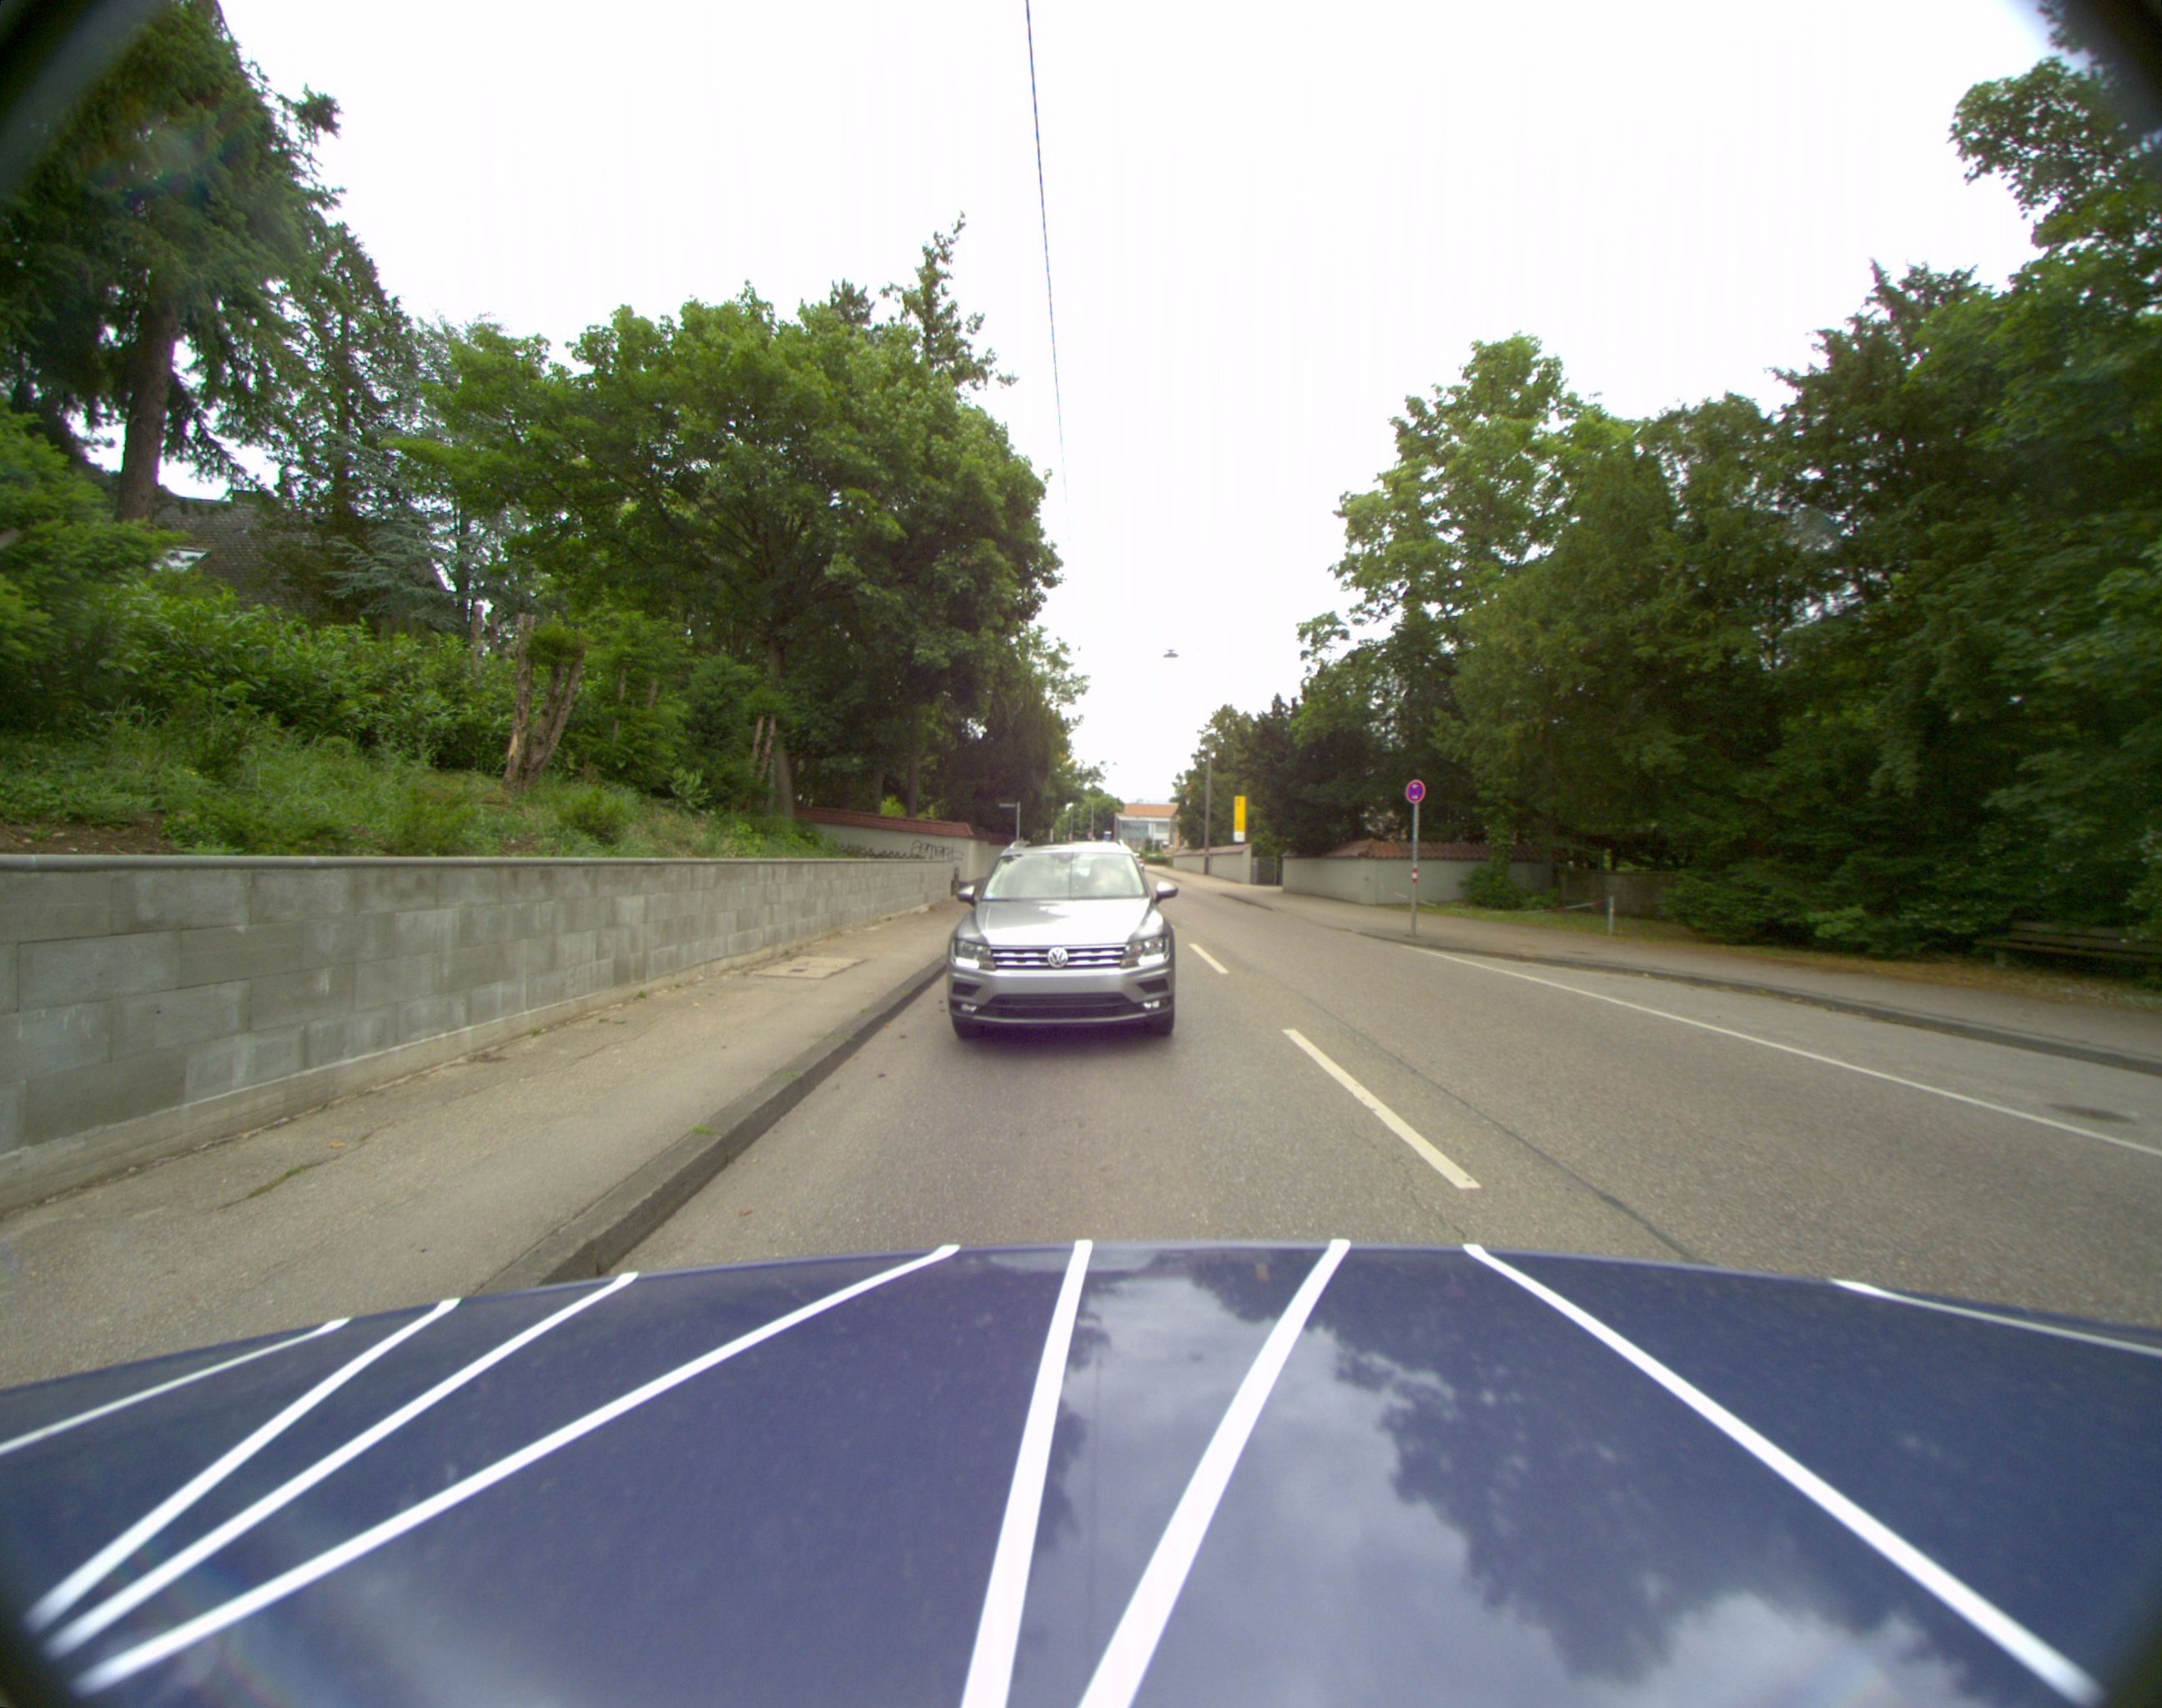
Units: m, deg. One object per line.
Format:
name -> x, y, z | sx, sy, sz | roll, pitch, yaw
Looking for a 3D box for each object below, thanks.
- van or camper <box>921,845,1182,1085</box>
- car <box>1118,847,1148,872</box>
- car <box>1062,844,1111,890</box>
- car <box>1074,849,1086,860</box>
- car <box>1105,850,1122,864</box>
van or camper -> -0.179, 0.757, 7.368 | 1.800, 1.663, 4.198 | 0, 0, 1
car -> 3.773, 0.392, 55.669 | 1.789, 1.644, 4.120 | 3, 0, -1
car -> 0.231, 0.492, 30.602 | 1.789, 1.644, 4.120 | 3, 0, 1
car -> -0.125, 0.096, 119.325 | 1.864, 1.648, 4.305 | 0, 0, 1
car -> 3.709, 0.317, 87.976 | 1.864, 1.445, 4.110 | 1, 0, 1
